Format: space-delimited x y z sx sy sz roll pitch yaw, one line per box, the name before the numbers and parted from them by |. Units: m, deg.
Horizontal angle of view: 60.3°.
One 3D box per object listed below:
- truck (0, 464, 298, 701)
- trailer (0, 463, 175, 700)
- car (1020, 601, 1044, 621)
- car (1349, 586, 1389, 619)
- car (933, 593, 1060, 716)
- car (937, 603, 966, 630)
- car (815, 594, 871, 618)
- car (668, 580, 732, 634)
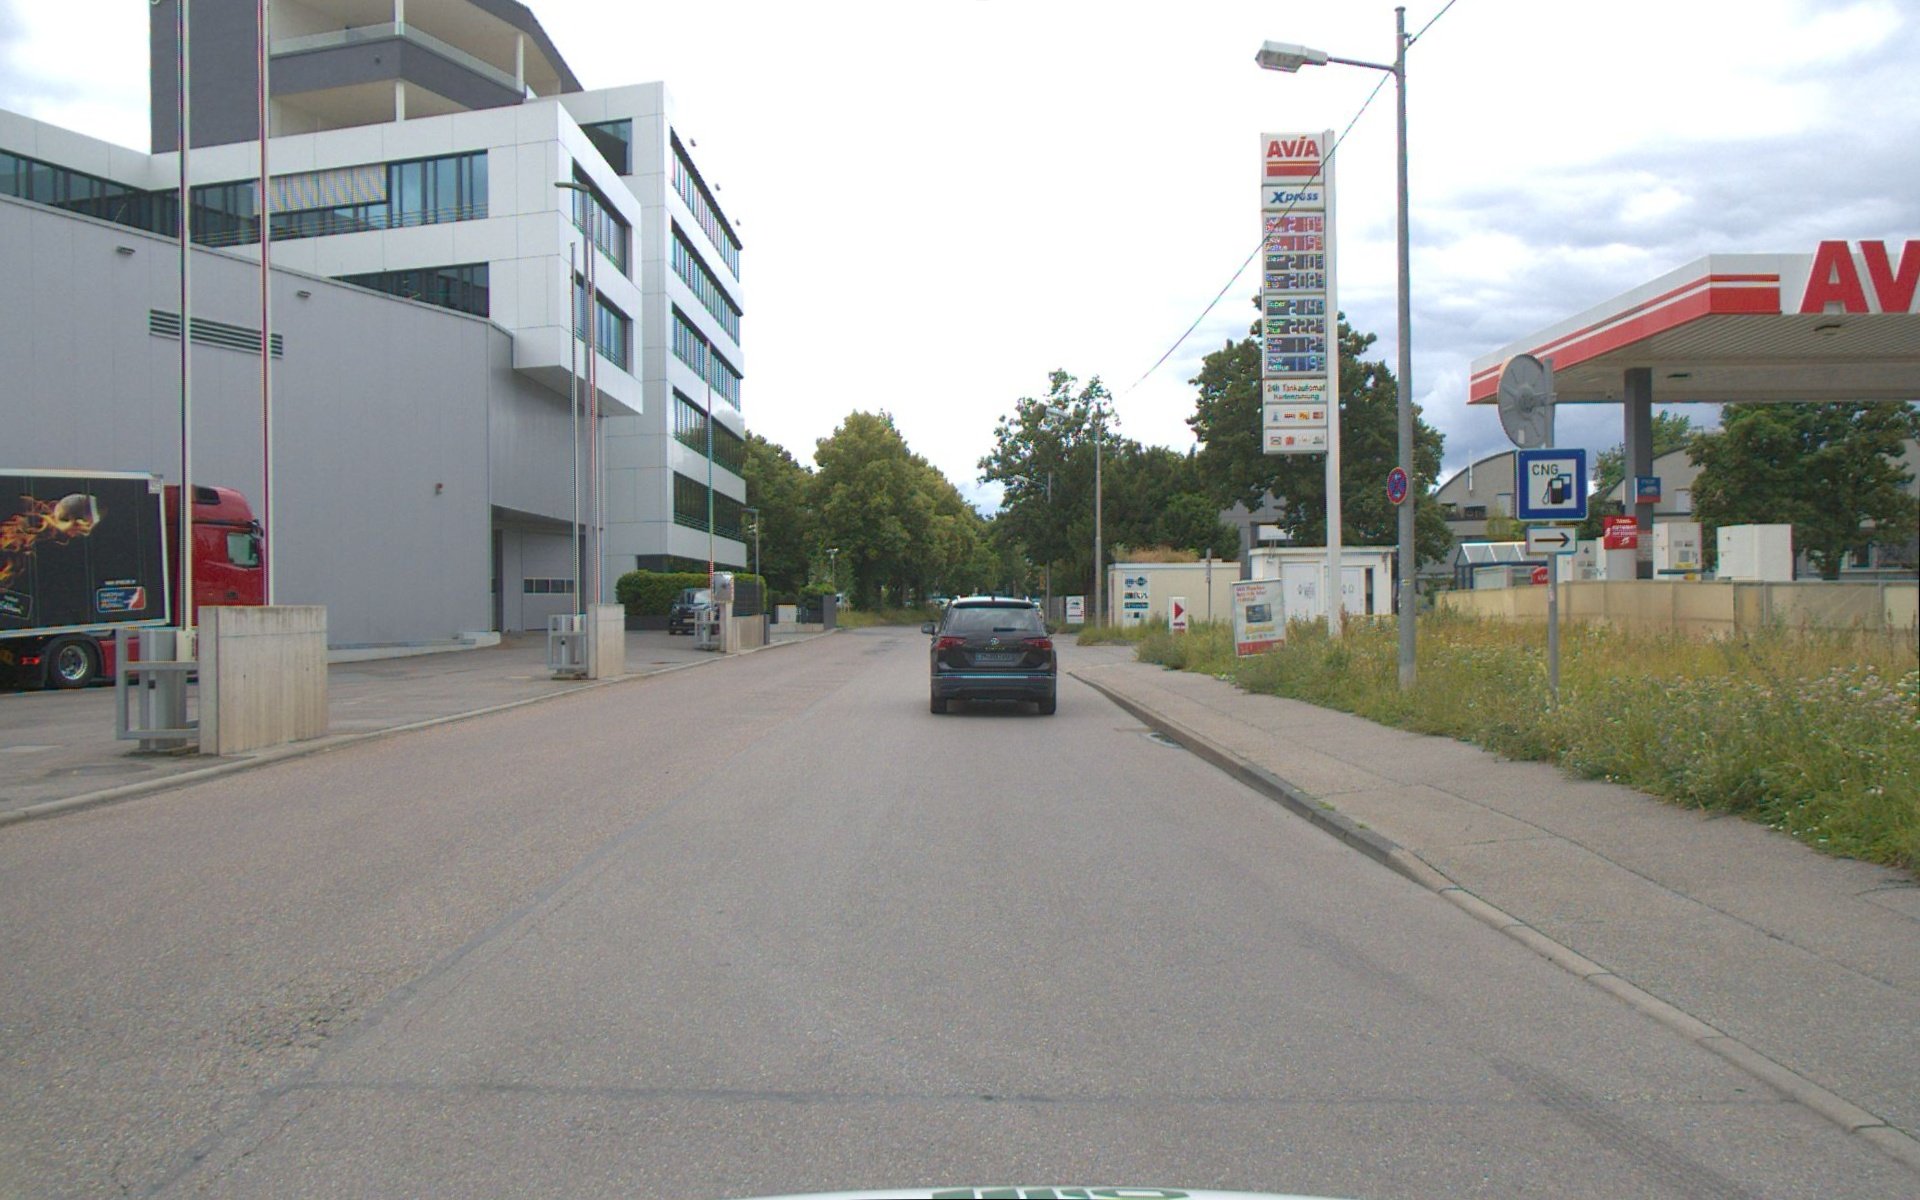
truck | -16.619 -0.331 32.458 2.685 4.101 7.094 0 0 20
trailer | -18.691 -0.303 26.746 2.685 4.101 12.620 0 0 20
car | 6.601 0.982 151.495 1.951 1.818 4.003 0 0 6
car | 22.021 0.133 88.894 1.951 1.640 4.445 -2 1 15
car | 0.551 0.760 24.094 1.703 1.646 3.642 0 -1 2
car | -0.542 1.051 105.180 1.801 1.644 4.000 -1 0 0
car | -12.937 0.655 182.835 5.944 2.429 2.395 -1 0 2
car | -9.000 0.250 57.413 1.616 1.792 3.179 1 0 1
